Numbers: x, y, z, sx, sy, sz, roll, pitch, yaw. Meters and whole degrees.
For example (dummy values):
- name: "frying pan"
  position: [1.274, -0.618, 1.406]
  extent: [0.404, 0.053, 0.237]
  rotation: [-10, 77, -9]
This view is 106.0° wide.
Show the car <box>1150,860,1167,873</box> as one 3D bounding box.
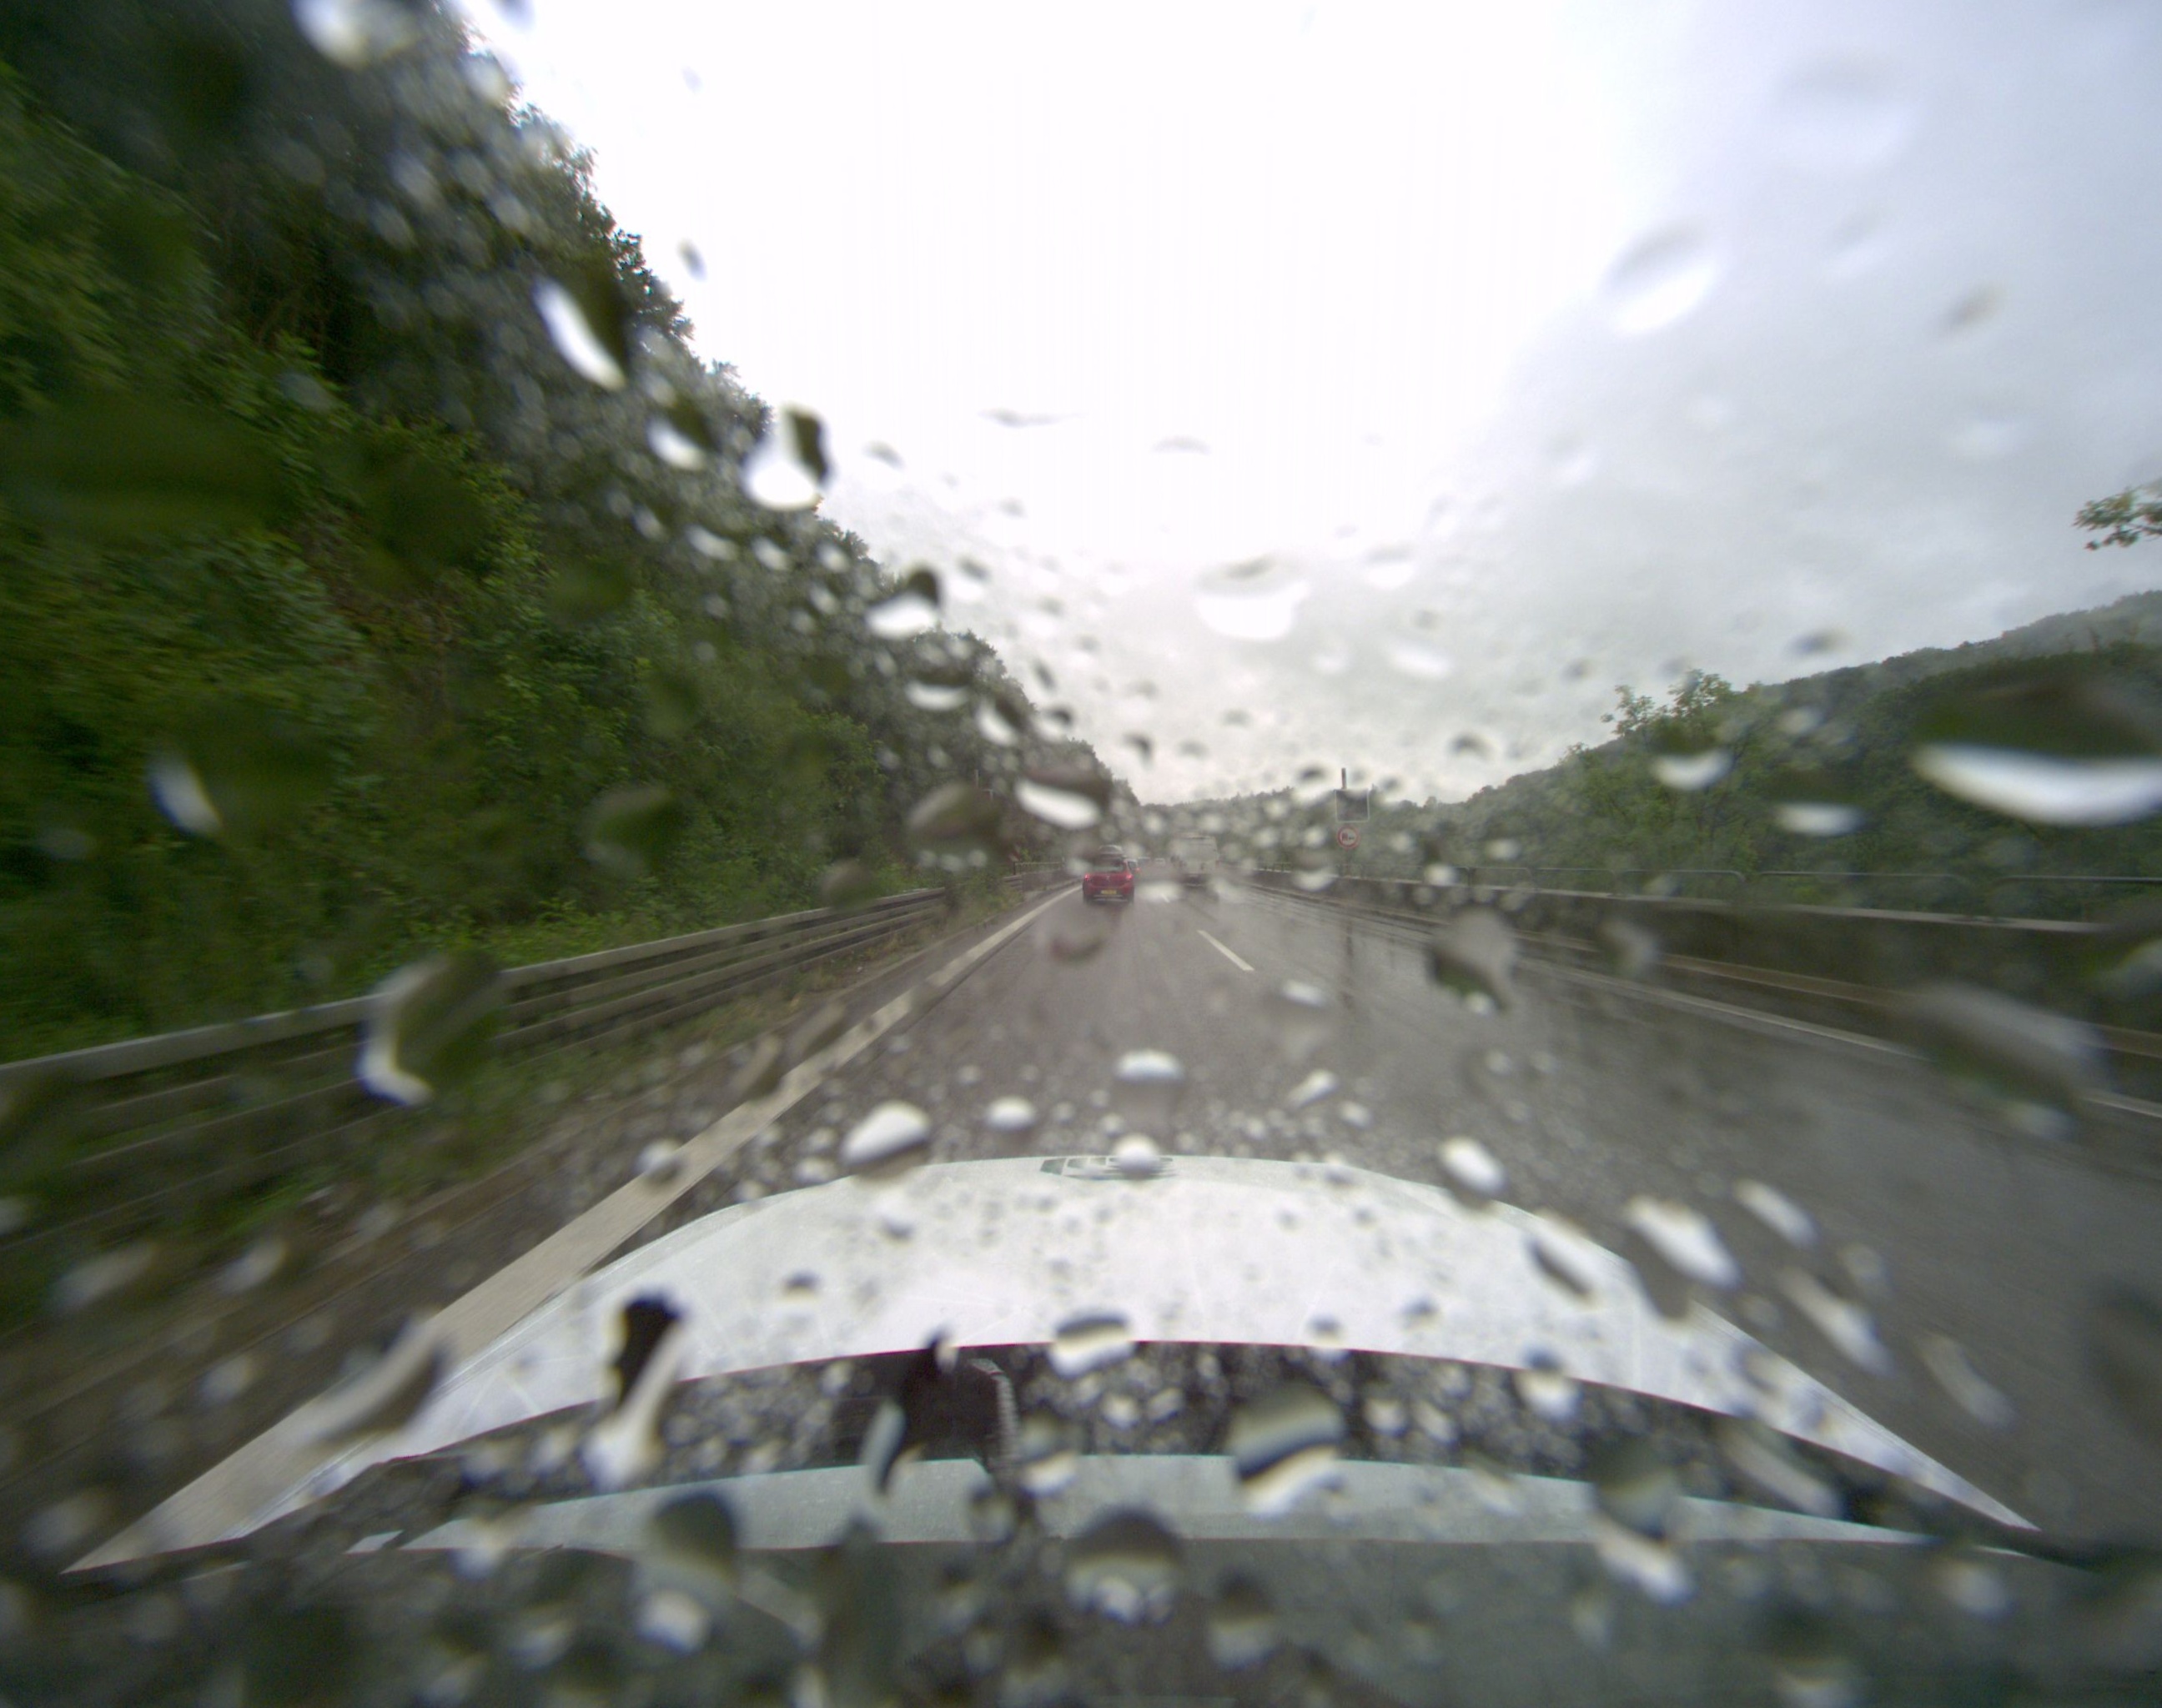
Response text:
- name: "car"
  position: [10.691, 1.676, 111.663]
  extent: [1.982, 1.639, 4.009]
  rotation: [-4, -1, 8]

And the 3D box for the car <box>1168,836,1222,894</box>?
- name: "car"
  position: [5.904, 0.543, 42.975]
  extent: [2.197, 2.794, 7.388]
  rotation: [0, 0, 3]

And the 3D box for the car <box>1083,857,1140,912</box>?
- name: "car"
  position: [1.041, 1.016, 28.473]
  extent: [1.752, 1.684, 4.001]
  rotation: [-4, -1, 1]

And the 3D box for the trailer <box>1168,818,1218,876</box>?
- name: "trailer"
  position: [8.653, -0.443, 64.263]
  extent: [3.203, 3.999, 13.543]
  rotation: [-2, -1, 5]

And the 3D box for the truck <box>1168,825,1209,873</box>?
- name: "truck"
  position: [9.321, -0.390, 71.128]
  extent: [3.204, 3.978, 5.447]
  rotation: [-2, -1, 6]

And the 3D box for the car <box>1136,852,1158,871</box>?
- name: "car"
  position: [6.466, 0.694, 79.991]
  extent: [1.865, 1.706, 3.896]
  rotation: [-4, -1, 7]

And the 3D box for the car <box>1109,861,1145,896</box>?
- name: "car"
  position: [2.516, 1.322, 44.507]
  extent: [1.825, 1.715, 3.648]
  rotation: [-4, -1, 3]
